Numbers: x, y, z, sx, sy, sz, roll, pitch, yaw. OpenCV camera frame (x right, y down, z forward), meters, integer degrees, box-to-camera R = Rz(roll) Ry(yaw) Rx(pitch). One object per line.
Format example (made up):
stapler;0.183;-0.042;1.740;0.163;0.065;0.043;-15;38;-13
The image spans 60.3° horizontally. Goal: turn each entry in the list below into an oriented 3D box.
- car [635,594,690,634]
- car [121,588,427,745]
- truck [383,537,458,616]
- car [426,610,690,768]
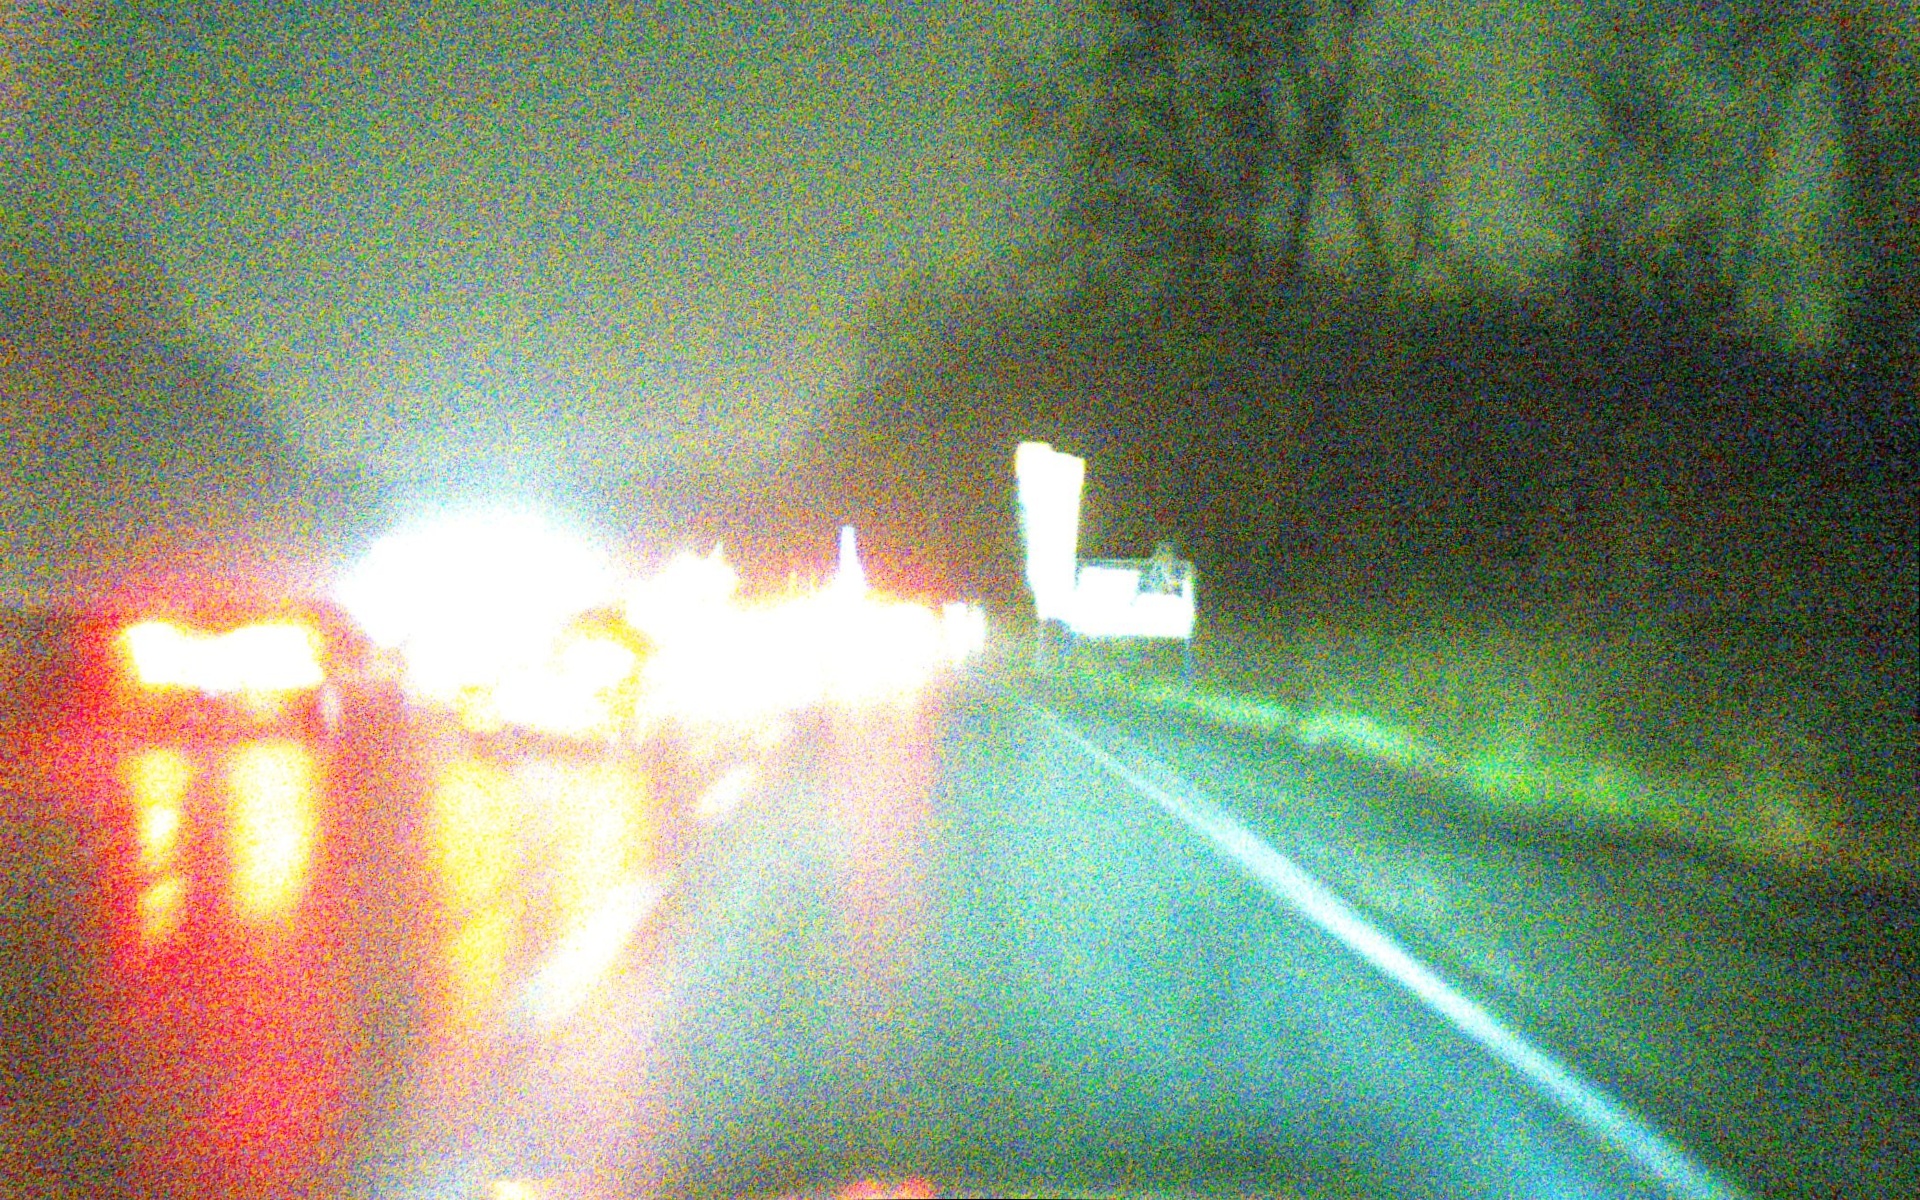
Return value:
car;-12.307;0.571;68.633;1.855;1.578;3.995;1;-1;-5
car;-7.678;0.673;19.062;1.733;1.543;4.911;1;0;-4
truck;-25.206;-1.044;77.454;2.557;3.518;4.630;1;-1;-10
car;-4.049;0.856;17.360;1.923;1.405;4.046;2;-1;-3
